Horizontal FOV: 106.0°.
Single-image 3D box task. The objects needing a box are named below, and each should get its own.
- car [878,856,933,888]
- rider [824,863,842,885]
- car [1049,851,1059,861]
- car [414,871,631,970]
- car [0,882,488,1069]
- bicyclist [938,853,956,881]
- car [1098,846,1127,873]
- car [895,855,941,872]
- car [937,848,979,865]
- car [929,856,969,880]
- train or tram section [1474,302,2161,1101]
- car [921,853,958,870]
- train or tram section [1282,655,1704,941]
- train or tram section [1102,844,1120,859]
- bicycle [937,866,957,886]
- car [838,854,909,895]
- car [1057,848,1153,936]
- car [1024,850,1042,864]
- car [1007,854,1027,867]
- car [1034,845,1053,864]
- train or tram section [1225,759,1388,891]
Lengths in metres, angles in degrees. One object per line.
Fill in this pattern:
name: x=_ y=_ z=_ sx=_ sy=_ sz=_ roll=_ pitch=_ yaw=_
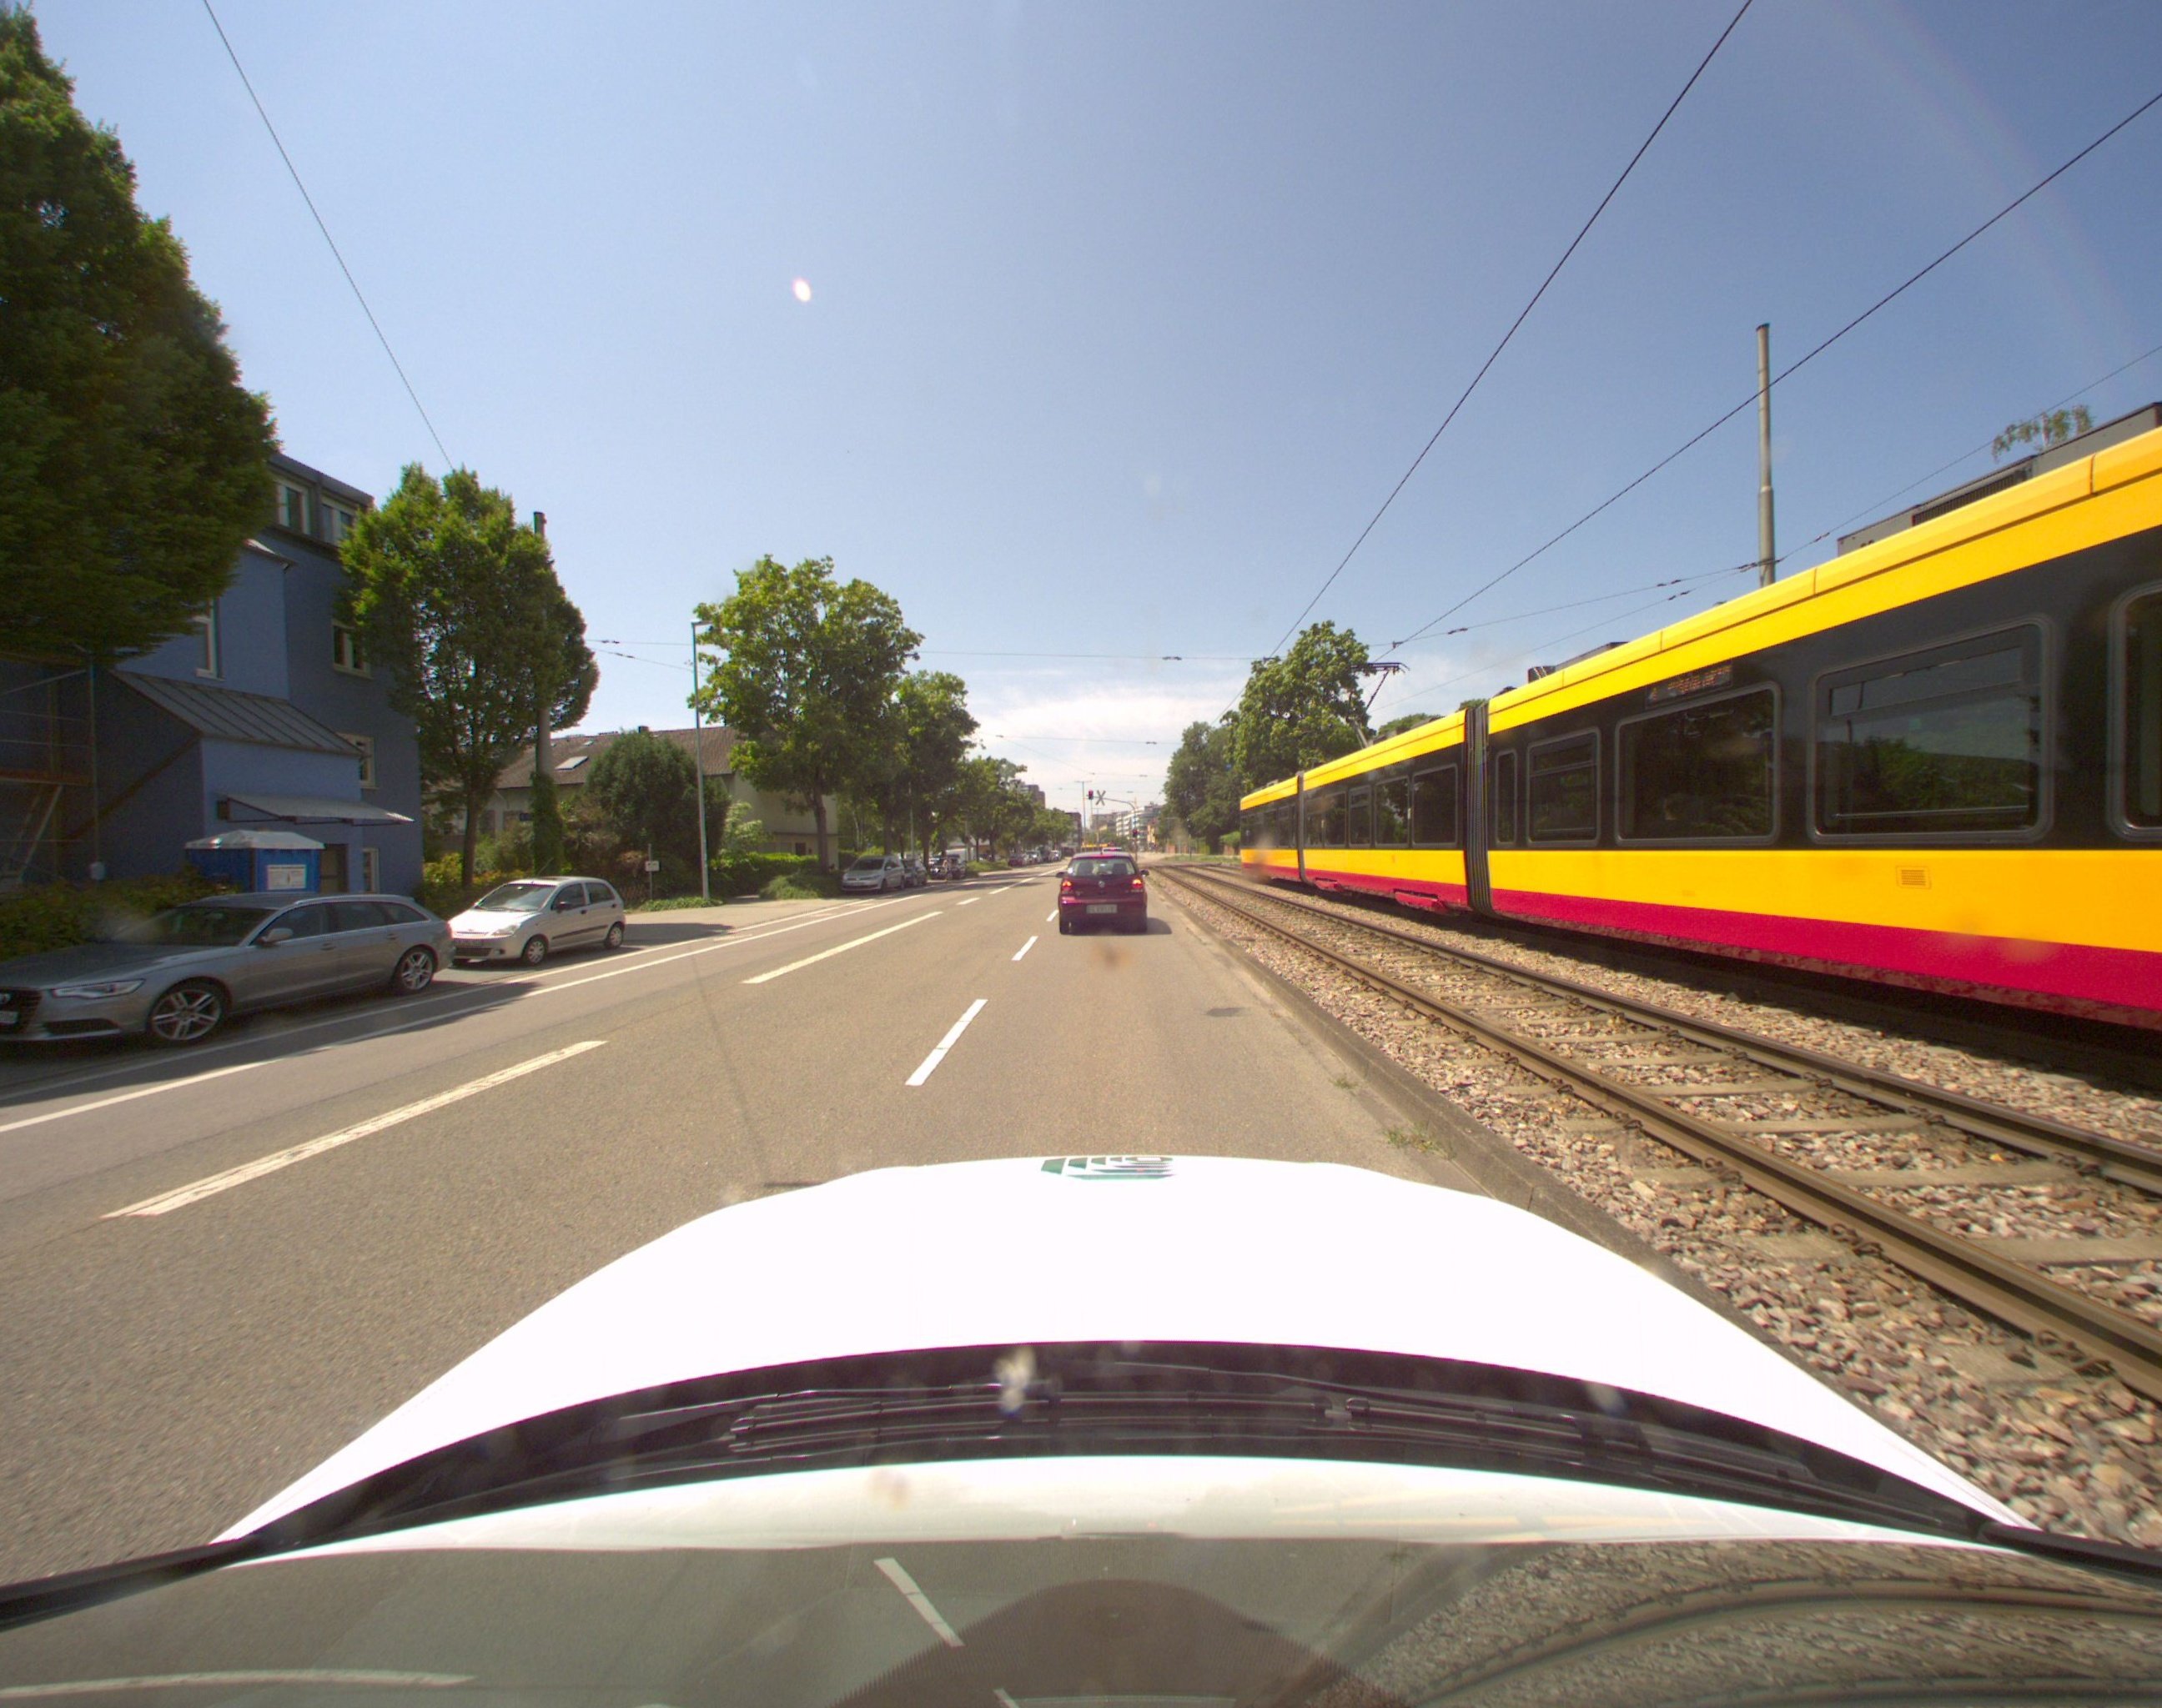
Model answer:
car: x=-9.186 y=0.899 z=42.943 sx=1.812 sy=1.564 sz=4.183 roll=-1 pitch=0 yaw=2
rider: x=-16.863 y=1.355 z=55.447 sx=0.820 sy=1.374 sz=0.814 roll=-3 pitch=0 yaw=10
car: x=-4.829 y=0.340 z=145.229 sx=1.771 sy=1.828 sz=3.995 roll=0 pitch=-1 yaw=-3
car: x=-10.326 y=1.159 z=15.393 sx=1.587 sy=1.495 sz=3.450 roll=2 pitch=0 yaw=2
car: x=-10.309 y=1.247 z=10.305 sx=1.781 sy=1.450 sz=5.134 roll=2 pitch=1 yaw=1
bicyclist: x=-7.332 y=0.703 z=44.605 sx=0.733 sy=1.431 sz=1.124 roll=-5 pitch=0 yaw=-2
car: x=2.001 y=0.352 z=52.128 sx=1.770 sy=1.647 sz=4.001 roll=-1 pitch=0 yaw=1
car: x=-17.527 y=1.054 z=87.726 sx=4.319 sy=1.585 sz=1.917 roll=-3 pitch=0 yaw=7
car: x=-16.421 y=0.383 z=108.955 sx=5.076 sy=2.244 sz=2.380 roll=0 pitch=-1 yaw=3
car: x=-8.761 y=0.927 z=54.390 sx=1.812 sy=1.476 sz=4.450 roll=-1 pitch=0 yaw=1
train or tram section: x=6.711 y=-0.766 z=4.716 sx=3.016 sy=3.797 sz=13.099 roll=-2 pitch=0 yaw=3
car: x=-17.100 y=0.887 z=98.470 sx=3.973 sy=1.746 sz=1.998 roll=-3 pitch=0 yaw=0
train or tram section: x=7.263 y=-0.806 z=17.734 sx=3.016 sy=3.797 sz=13.099 roll=-2 pitch=0 yaw=3
train or tram section: x=7.350 y=-0.701 z=200.231 sx=2.736 sy=3.609 sz=12.847 roll=0 pitch=0 yaw=-5
bicycle: x=-7.319 y=1.181 z=44.576 sx=0.699 sy=0.951 sz=2.242 roll=-5 pitch=1 yaw=-1
car: x=-9.413 y=0.881 z=37.383 sx=1.866 sy=1.664 sz=4.783 roll=-2 pitch=1 yaw=1
car: x=0.459 y=0.648 z=16.177 sx=1.666 sy=1.521 sz=4.001 roll=-1 pitch=0 yaw=1
car: x=-6.380 y=0.444 z=108.914 sx=1.774 sy=1.881 sz=4.792 roll=0 pitch=-1 yaw=5
car: x=-7.248 y=0.747 z=92.133 sx=1.655 sy=1.497 sz=4.004 roll=0 pitch=-1 yaw=4
car: x=-5.639 y=0.067 z=121.951 sx=2.352 sy=2.692 sz=5.311 roll=0 pitch=-1 yaw=3
train or tram section: x=7.810 y=-0.901 z=30.525 sx=3.016 sy=3.797 sz=12.769 roll=-2 pitch=0 yaw=3
